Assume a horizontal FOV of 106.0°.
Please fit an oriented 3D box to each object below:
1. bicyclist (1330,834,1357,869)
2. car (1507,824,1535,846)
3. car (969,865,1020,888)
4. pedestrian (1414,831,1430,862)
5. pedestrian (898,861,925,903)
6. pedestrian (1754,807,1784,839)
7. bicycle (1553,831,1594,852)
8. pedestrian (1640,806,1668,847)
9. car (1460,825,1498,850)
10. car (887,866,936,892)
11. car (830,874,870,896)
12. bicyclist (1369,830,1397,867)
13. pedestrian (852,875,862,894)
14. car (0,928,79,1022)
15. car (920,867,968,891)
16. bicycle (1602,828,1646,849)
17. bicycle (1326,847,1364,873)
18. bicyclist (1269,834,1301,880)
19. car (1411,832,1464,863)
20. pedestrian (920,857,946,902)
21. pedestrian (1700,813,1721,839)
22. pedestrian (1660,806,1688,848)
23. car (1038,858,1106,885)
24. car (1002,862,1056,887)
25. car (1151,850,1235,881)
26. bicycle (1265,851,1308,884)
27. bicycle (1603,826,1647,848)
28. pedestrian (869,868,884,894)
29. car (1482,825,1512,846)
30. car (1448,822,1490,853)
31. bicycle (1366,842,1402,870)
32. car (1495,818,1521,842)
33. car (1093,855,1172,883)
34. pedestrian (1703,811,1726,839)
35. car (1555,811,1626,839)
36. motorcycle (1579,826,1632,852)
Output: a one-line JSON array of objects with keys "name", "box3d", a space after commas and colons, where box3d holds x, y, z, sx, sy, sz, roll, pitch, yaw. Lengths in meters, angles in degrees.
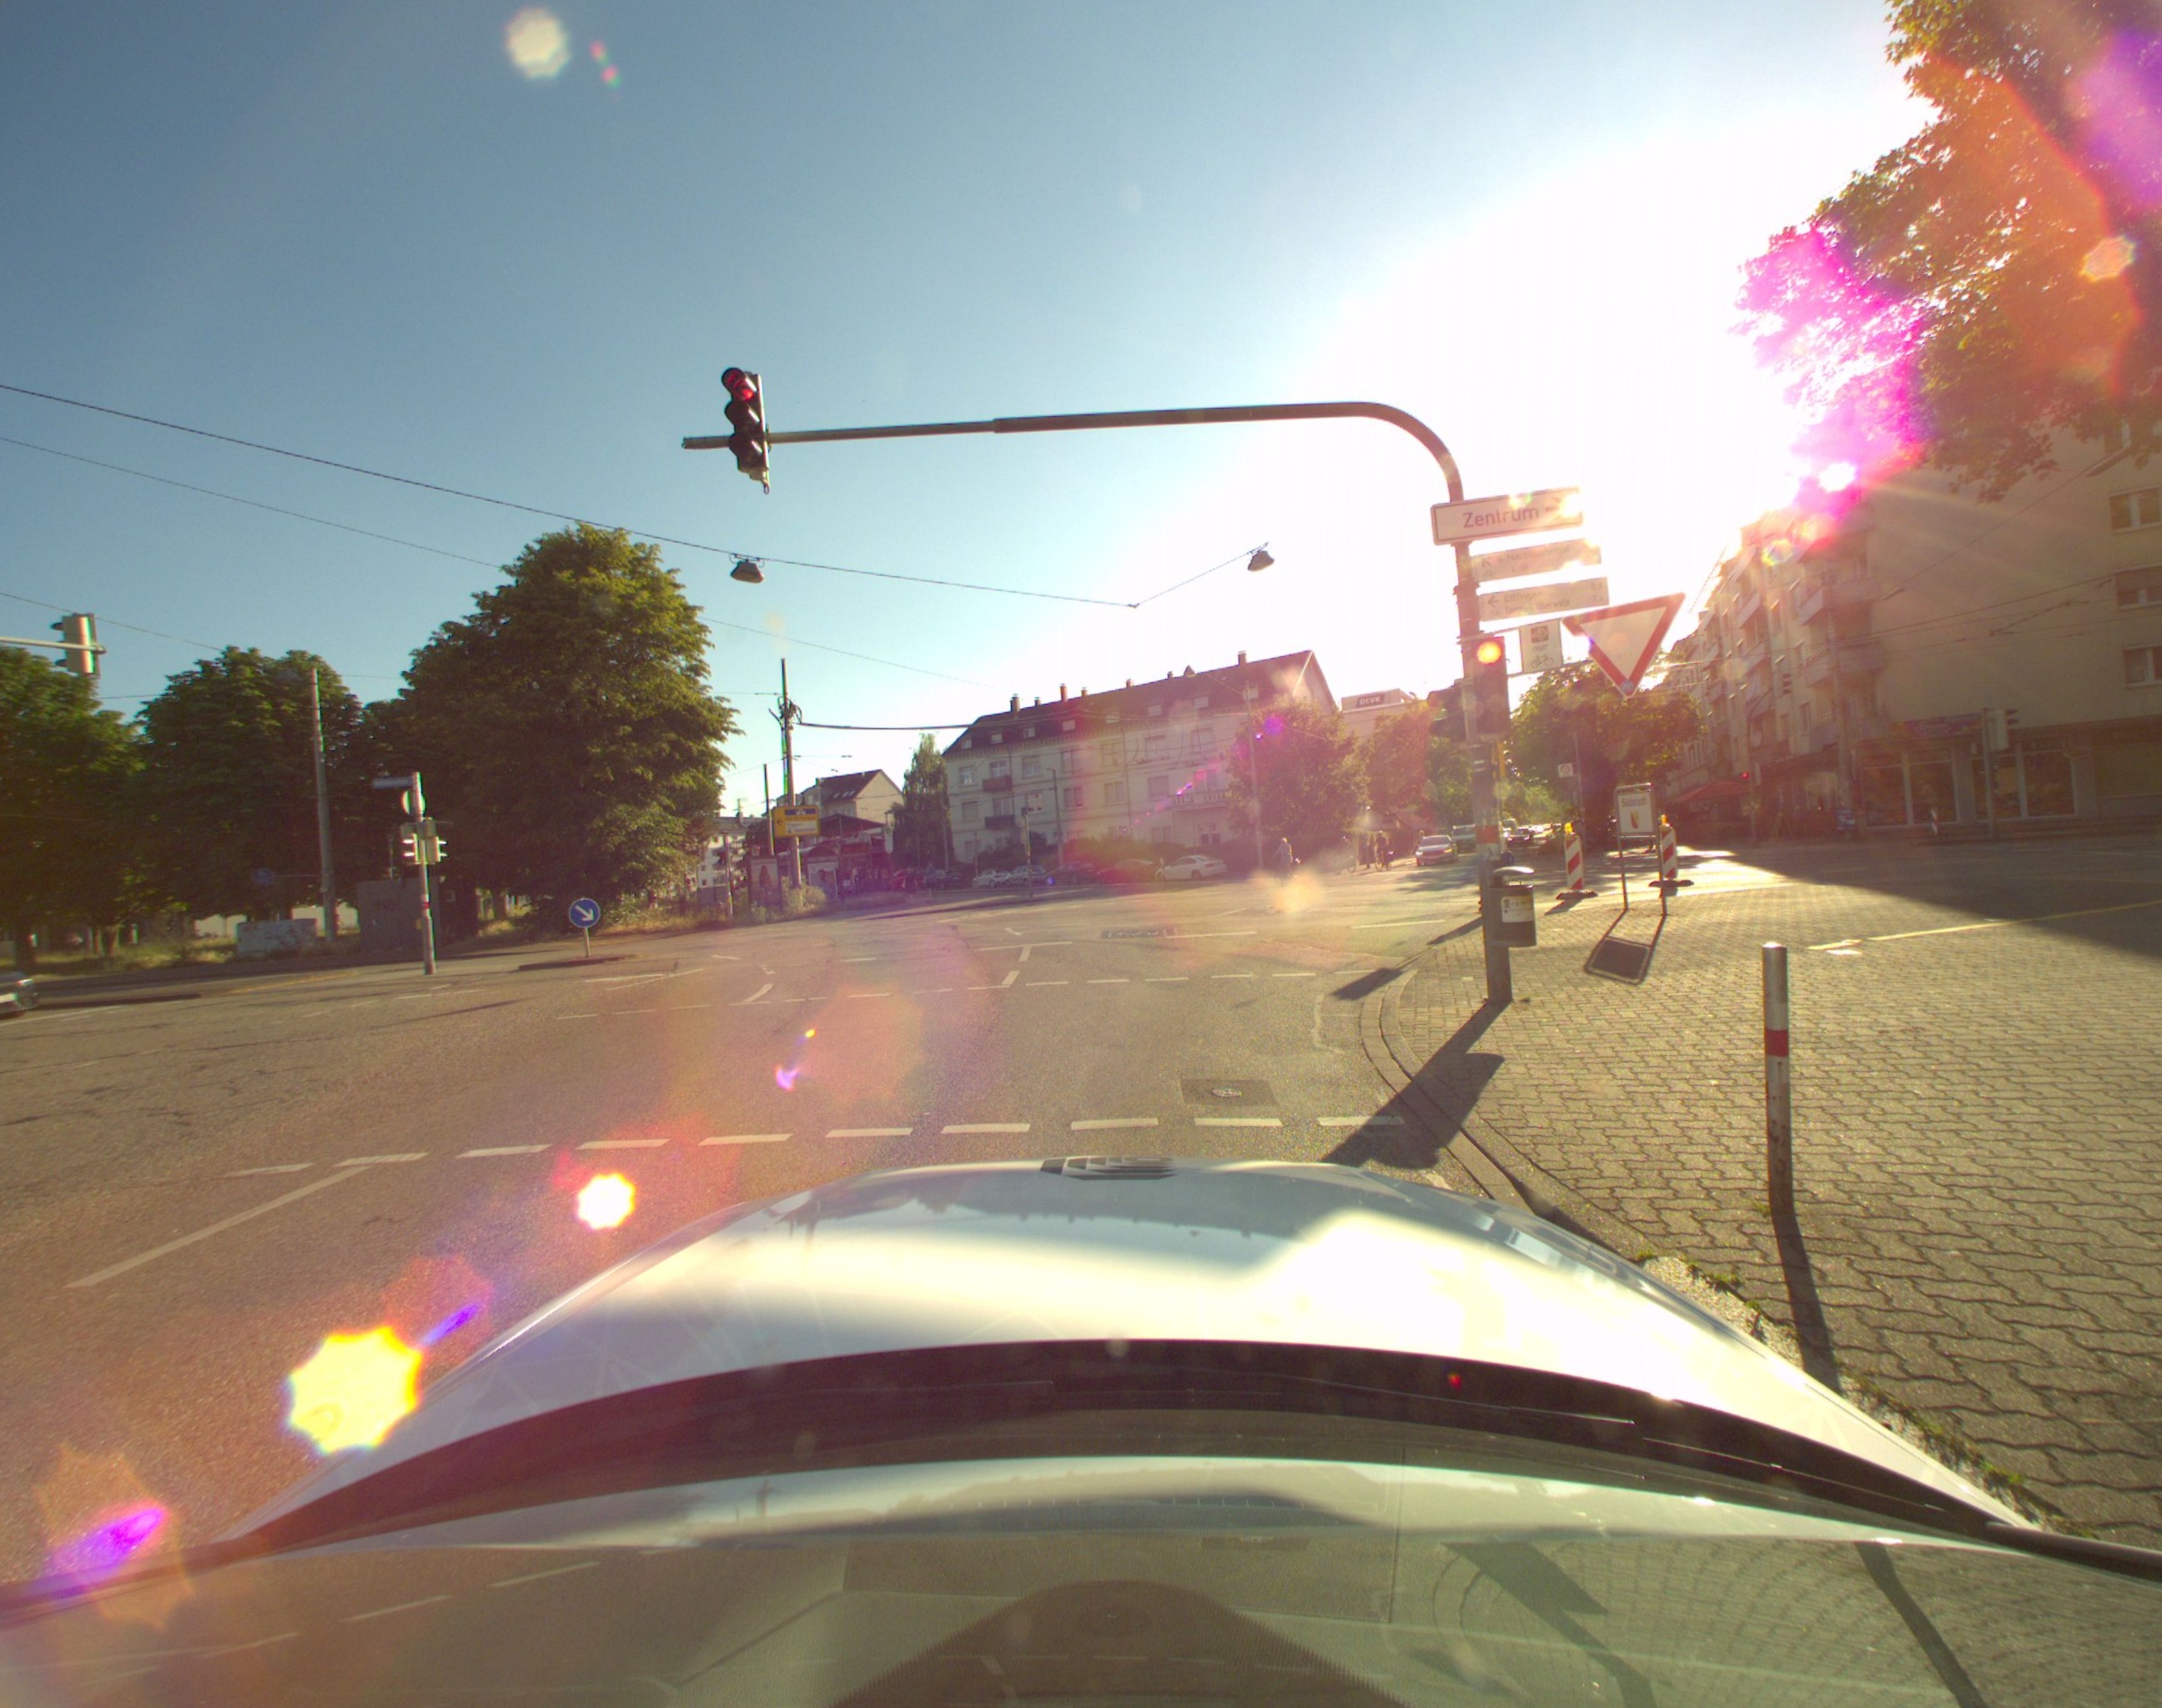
[{"name": "bicyclist", "box3d": [11.889, -0.113, 36.862, 1.043, 1.532, 0.652, -4, -1, -43]}, {"name": "car", "box3d": [36.083, -1.589, 66.783, 1.875, 1.564, 4.420, -4, 0, 28]}, {"name": "car", "box3d": [-6.592, 1.722, 61.675, 1.855, 1.447, 3.912, -7, 1, -39]}, {"name": "pedestrian", "box3d": [20.564, -0.458, 49.076, 0.655, 1.839, 0.687, -4, -1, 30]}, {"name": "pedestrian", "box3d": [-7.484, 1.216, 36.004, 0.910, 1.747, 1.066, -4, -1, -3]}, {"name": "pedestrian", "box3d": [34.442, -1.548, 40.773, 0.804, 1.544, 0.919, -5, -1, 25]}, {"name": "bicycle", "box3d": [24.916, -0.636, 41.197, 1.707, 0.932, 0.676, -5, -1, 31]}, {"name": "pedestrian", "box3d": [26.009, -1.247, 36.970, 0.799, 1.750, 0.710, -4, -1, -38]}, {"name": "car", "box3d": [31.688, -1.327, 64.750, 2.332, 1.795, 5.342, -5, -1, 28]}, {"name": "car", "box3d": [-15.208, 2.224, 72.761, 2.067, 1.961, 5.091, -7, 1, -39]}, {"name": "car", "box3d": [-23.850, 3.183, 83.946, 2.067, 1.961, 5.091, -7, 1, -39]}, {"name": "bicyclist", "box3d": [13.139, -0.235, 35.473, 0.689, 1.532, 1.044, -5, -1, 43]}, {"name": "pedestrian", "box3d": [-18.448, 2.538, 67.021, 0.569, 1.500, 0.672, -4, -1, -27]}, {"name": "car", "box3d": [-21.398, 2.352, 14.630, 4.415, 1.567, 2.057, -4, 0, 5]}, {"name": "car", "box3d": [-11.412, 2.067, 67.627, 1.855, 1.667, 4.319, -7, 1, -39]}, {"name": "bicycle", "box3d": [26.865, -0.767, 40.321, 1.707, 0.932, 0.565, -5, -1, 31]}, {"name": "bicycle", "box3d": [11.989, 0.268, 36.918, 2.031, 1.069, 0.655, -4, -1, -43]}, {"name": "bicyclist", "box3d": [7.405, 0.110, 29.552, 0.767, 1.605, 0.863, -5, -1, 37]}, {"name": "car", "box3d": [17.916, -0.305, 40.844, 1.872, 1.486, 4.025, -1, -1, 32]}, {"name": "pedestrian", "box3d": [-6.643, 1.133, 36.565, 0.910, 1.925, 1.066, -4, -1, -3]}, {"name": "pedestrian", "box3d": [34.051, -1.518, 44.062, 0.803, 1.362, 0.920, -5, -1, 36]}, {"name": "pedestrian", "box3d": [26.156, -1.186, 35.937, 0.799, 1.750, 0.685, -4, -1, -38]}, {"name": "car", "box3d": [-0.674, 1.192, 54.795, 1.998, 1.447, 4.650, -7, 1, -39]}, {"name": "car", "box3d": [-3.749, 1.452, 58.114, 1.998, 1.447, 3.676, -7, 1, -39]}, {"name": "car", "box3d": [6.266, 0.670, 46.124, 1.941, 1.376, 4.443, -7, 1, -40]}, {"name": "bicycle", "box3d": [7.457, 0.468, 29.490, 0.655, 1.069, 2.032, -5, -1, 38]}, {"name": "bicycle", "box3d": [26.466, -0.814, 39.657, 1.707, 0.932, 0.565, -5, -1, 31]}, {"name": "pedestrian", "box3d": [-16.583, 2.212, 66.044, 0.928, 2.013, 0.761, -4, 1, -34]}, {"name": "car", "box3d": [39.713, -1.781, 77.669, 2.332, 1.795, 5.342, -5, -1, 28]}, {"name": "car", "box3d": [28.384, -1.227, 59.445, 2.332, 2.013, 5.342, -5, -1, 28]}, {"name": "bicycle", "box3d": [13.204, 0.089, 35.490, 0.655, 1.069, 2.031, -5, -1, 43]}, {"name": "car", "box3d": [47.943, -2.681, 91.344, 2.332, 2.514, 5.342, -5, -1, 28]}, {"name": "car", "box3d": [3.120, 0.939, 50.195, 1.999, 1.376, 4.647, -7, 1, -44]}, {"name": "pedestrian", "box3d": [33.372, -1.522, 42.907, 0.803, 1.362, 0.920, -5, -1, 36]}, {"name": "car", "box3d": [44.678, -2.497, 71.617, 5.042, 1.924, 2.377, -5, -2, 28]}, {"name": "motorcycle", "box3d": [24.964, -0.714, 38.803, 1.933, 1.109, 0.842, -5, -1, 26]}]
